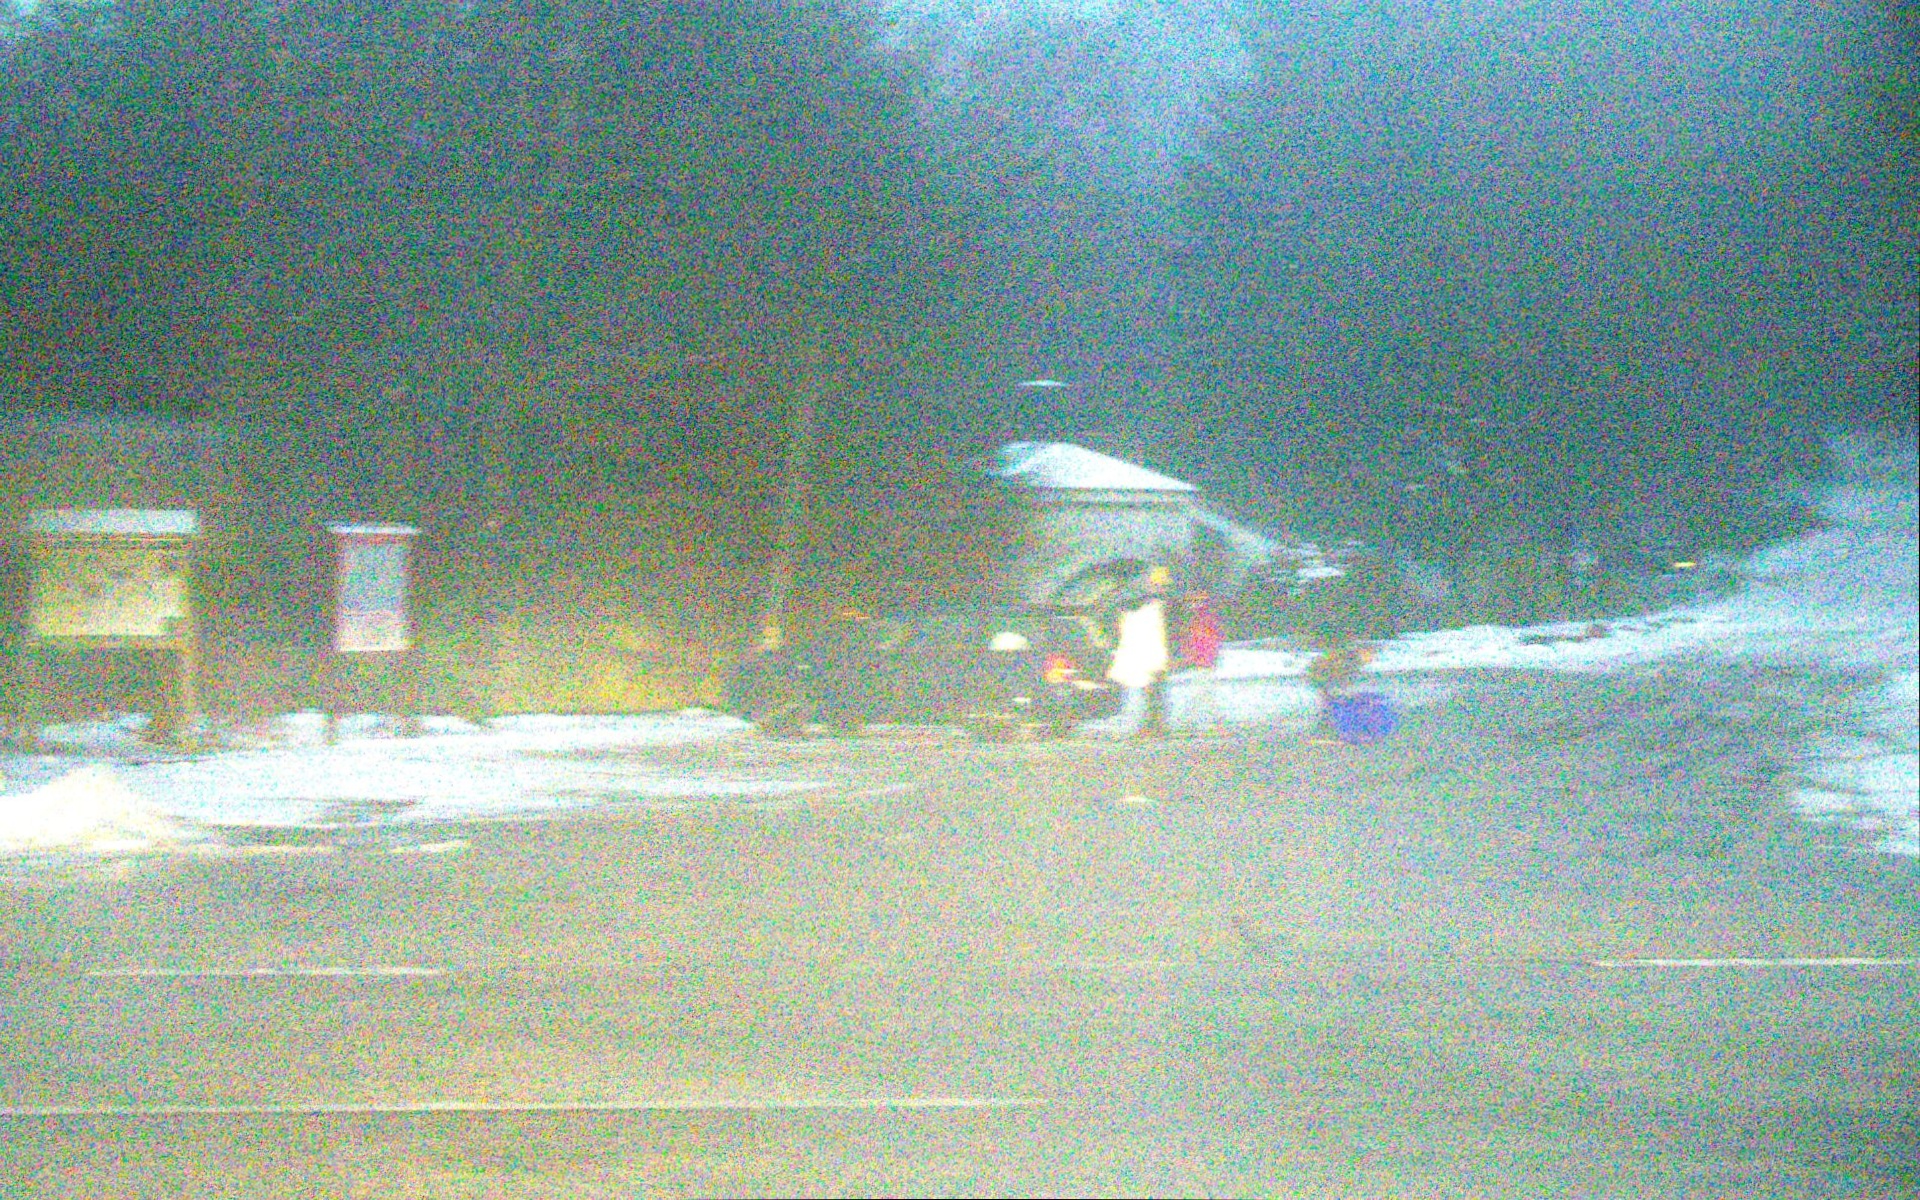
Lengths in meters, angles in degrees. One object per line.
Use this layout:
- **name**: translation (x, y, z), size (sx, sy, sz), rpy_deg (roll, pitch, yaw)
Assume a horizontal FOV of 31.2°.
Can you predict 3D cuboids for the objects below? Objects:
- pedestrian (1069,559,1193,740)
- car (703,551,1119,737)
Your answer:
- **pedestrian**: translation (1.755, 0.508, 35.212), size (0.962, 1.822, 0.923), rpy_deg (0, -1, 26)
- **car**: translation (-0.511, 0.461, 36.667), size (3.951, 1.875, 1.998), rpy_deg (1, -1, 21)
